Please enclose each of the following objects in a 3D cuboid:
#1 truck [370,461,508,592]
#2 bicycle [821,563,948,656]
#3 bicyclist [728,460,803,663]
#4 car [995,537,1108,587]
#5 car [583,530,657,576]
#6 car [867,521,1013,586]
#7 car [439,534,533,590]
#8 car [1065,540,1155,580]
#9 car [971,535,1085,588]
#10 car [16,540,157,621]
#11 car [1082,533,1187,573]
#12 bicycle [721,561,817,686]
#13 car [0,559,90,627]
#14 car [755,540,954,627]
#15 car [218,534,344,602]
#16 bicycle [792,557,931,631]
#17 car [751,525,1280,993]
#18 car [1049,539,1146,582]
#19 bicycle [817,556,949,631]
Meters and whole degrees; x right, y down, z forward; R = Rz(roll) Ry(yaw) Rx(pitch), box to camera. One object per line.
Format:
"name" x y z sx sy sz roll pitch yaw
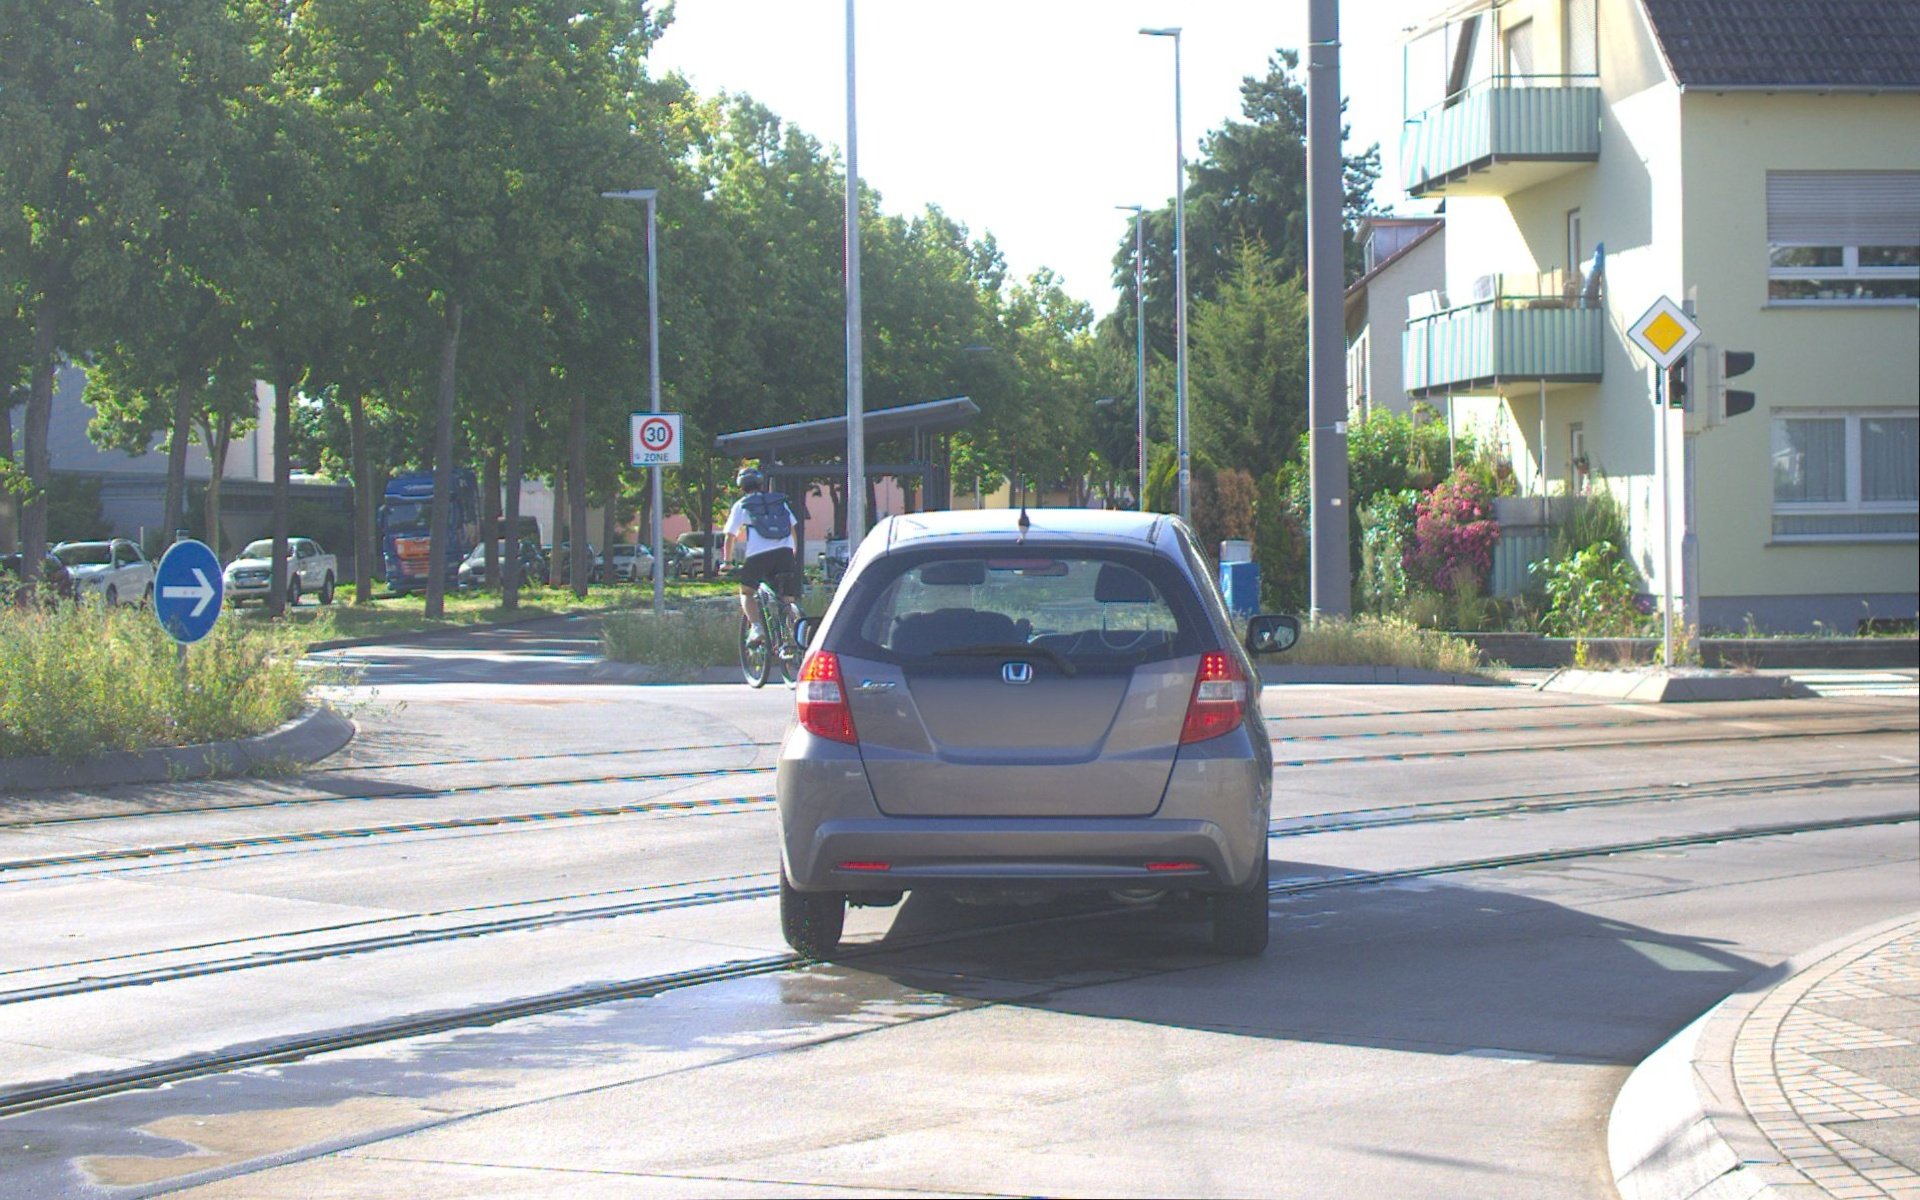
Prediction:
"truck" -16.648 -2.377 110.371 3.069 3.979 8.009 1 1 1
"bicycle" -1.016 0.120 45.847 1.665 1.203 0.689 1 1 -2
"bicyclist" -1.669 -0.323 29.503 0.603 1.708 0.544 -1 -3 -3
"car" 2.866 -1.195 108.112 3.479 1.488 1.552 1 1 1
"car" -12.938 -1.804 131.060 1.994 1.694 4.217 1 1 6
"car" -0.479 -1.161 85.033 3.517 1.528 1.577 1 1 2
"car" -13.864 -1.126 100.803 1.831 1.575 4.440 1 1 4
"car" 6.008 -1.621 138.050 3.517 1.528 1.577 1 1 1
"car" 2.044 -1.173 103.365 3.359 1.528 1.523 1 1 1
"car" -19.326 -0.456 76.229 1.993 1.694 4.218 1 1 1
"car" 5.963 -1.606 117.462 3.517 1.275 1.577 1 1 1
"bicycle" -1.635 0.206 29.223 0.766 1.033 1.534 0 -1 -5
"car" -19.478 -0.172 71.423 1.961 1.319 4.001 1 1 -3
"car" -1.910 -0.312 62.934 3.517 1.528 1.577 1 1 2
"car" -18.278 -0.885 92.753 1.994 1.766 5.059 1 1 5
"bicycle" -1.418 -0.090 49.538 1.973 1.024 0.696 1 1 -2
"car" 0.207 0.466 12.978 1.687 1.486 3.914 0 1 1
"car" 5.081 -1.457 127.437 3.517 1.528 1.577 1 1 1
"bicycle" -1.089 -0.100 48.641 1.840 1.024 0.689 1 1 -2
